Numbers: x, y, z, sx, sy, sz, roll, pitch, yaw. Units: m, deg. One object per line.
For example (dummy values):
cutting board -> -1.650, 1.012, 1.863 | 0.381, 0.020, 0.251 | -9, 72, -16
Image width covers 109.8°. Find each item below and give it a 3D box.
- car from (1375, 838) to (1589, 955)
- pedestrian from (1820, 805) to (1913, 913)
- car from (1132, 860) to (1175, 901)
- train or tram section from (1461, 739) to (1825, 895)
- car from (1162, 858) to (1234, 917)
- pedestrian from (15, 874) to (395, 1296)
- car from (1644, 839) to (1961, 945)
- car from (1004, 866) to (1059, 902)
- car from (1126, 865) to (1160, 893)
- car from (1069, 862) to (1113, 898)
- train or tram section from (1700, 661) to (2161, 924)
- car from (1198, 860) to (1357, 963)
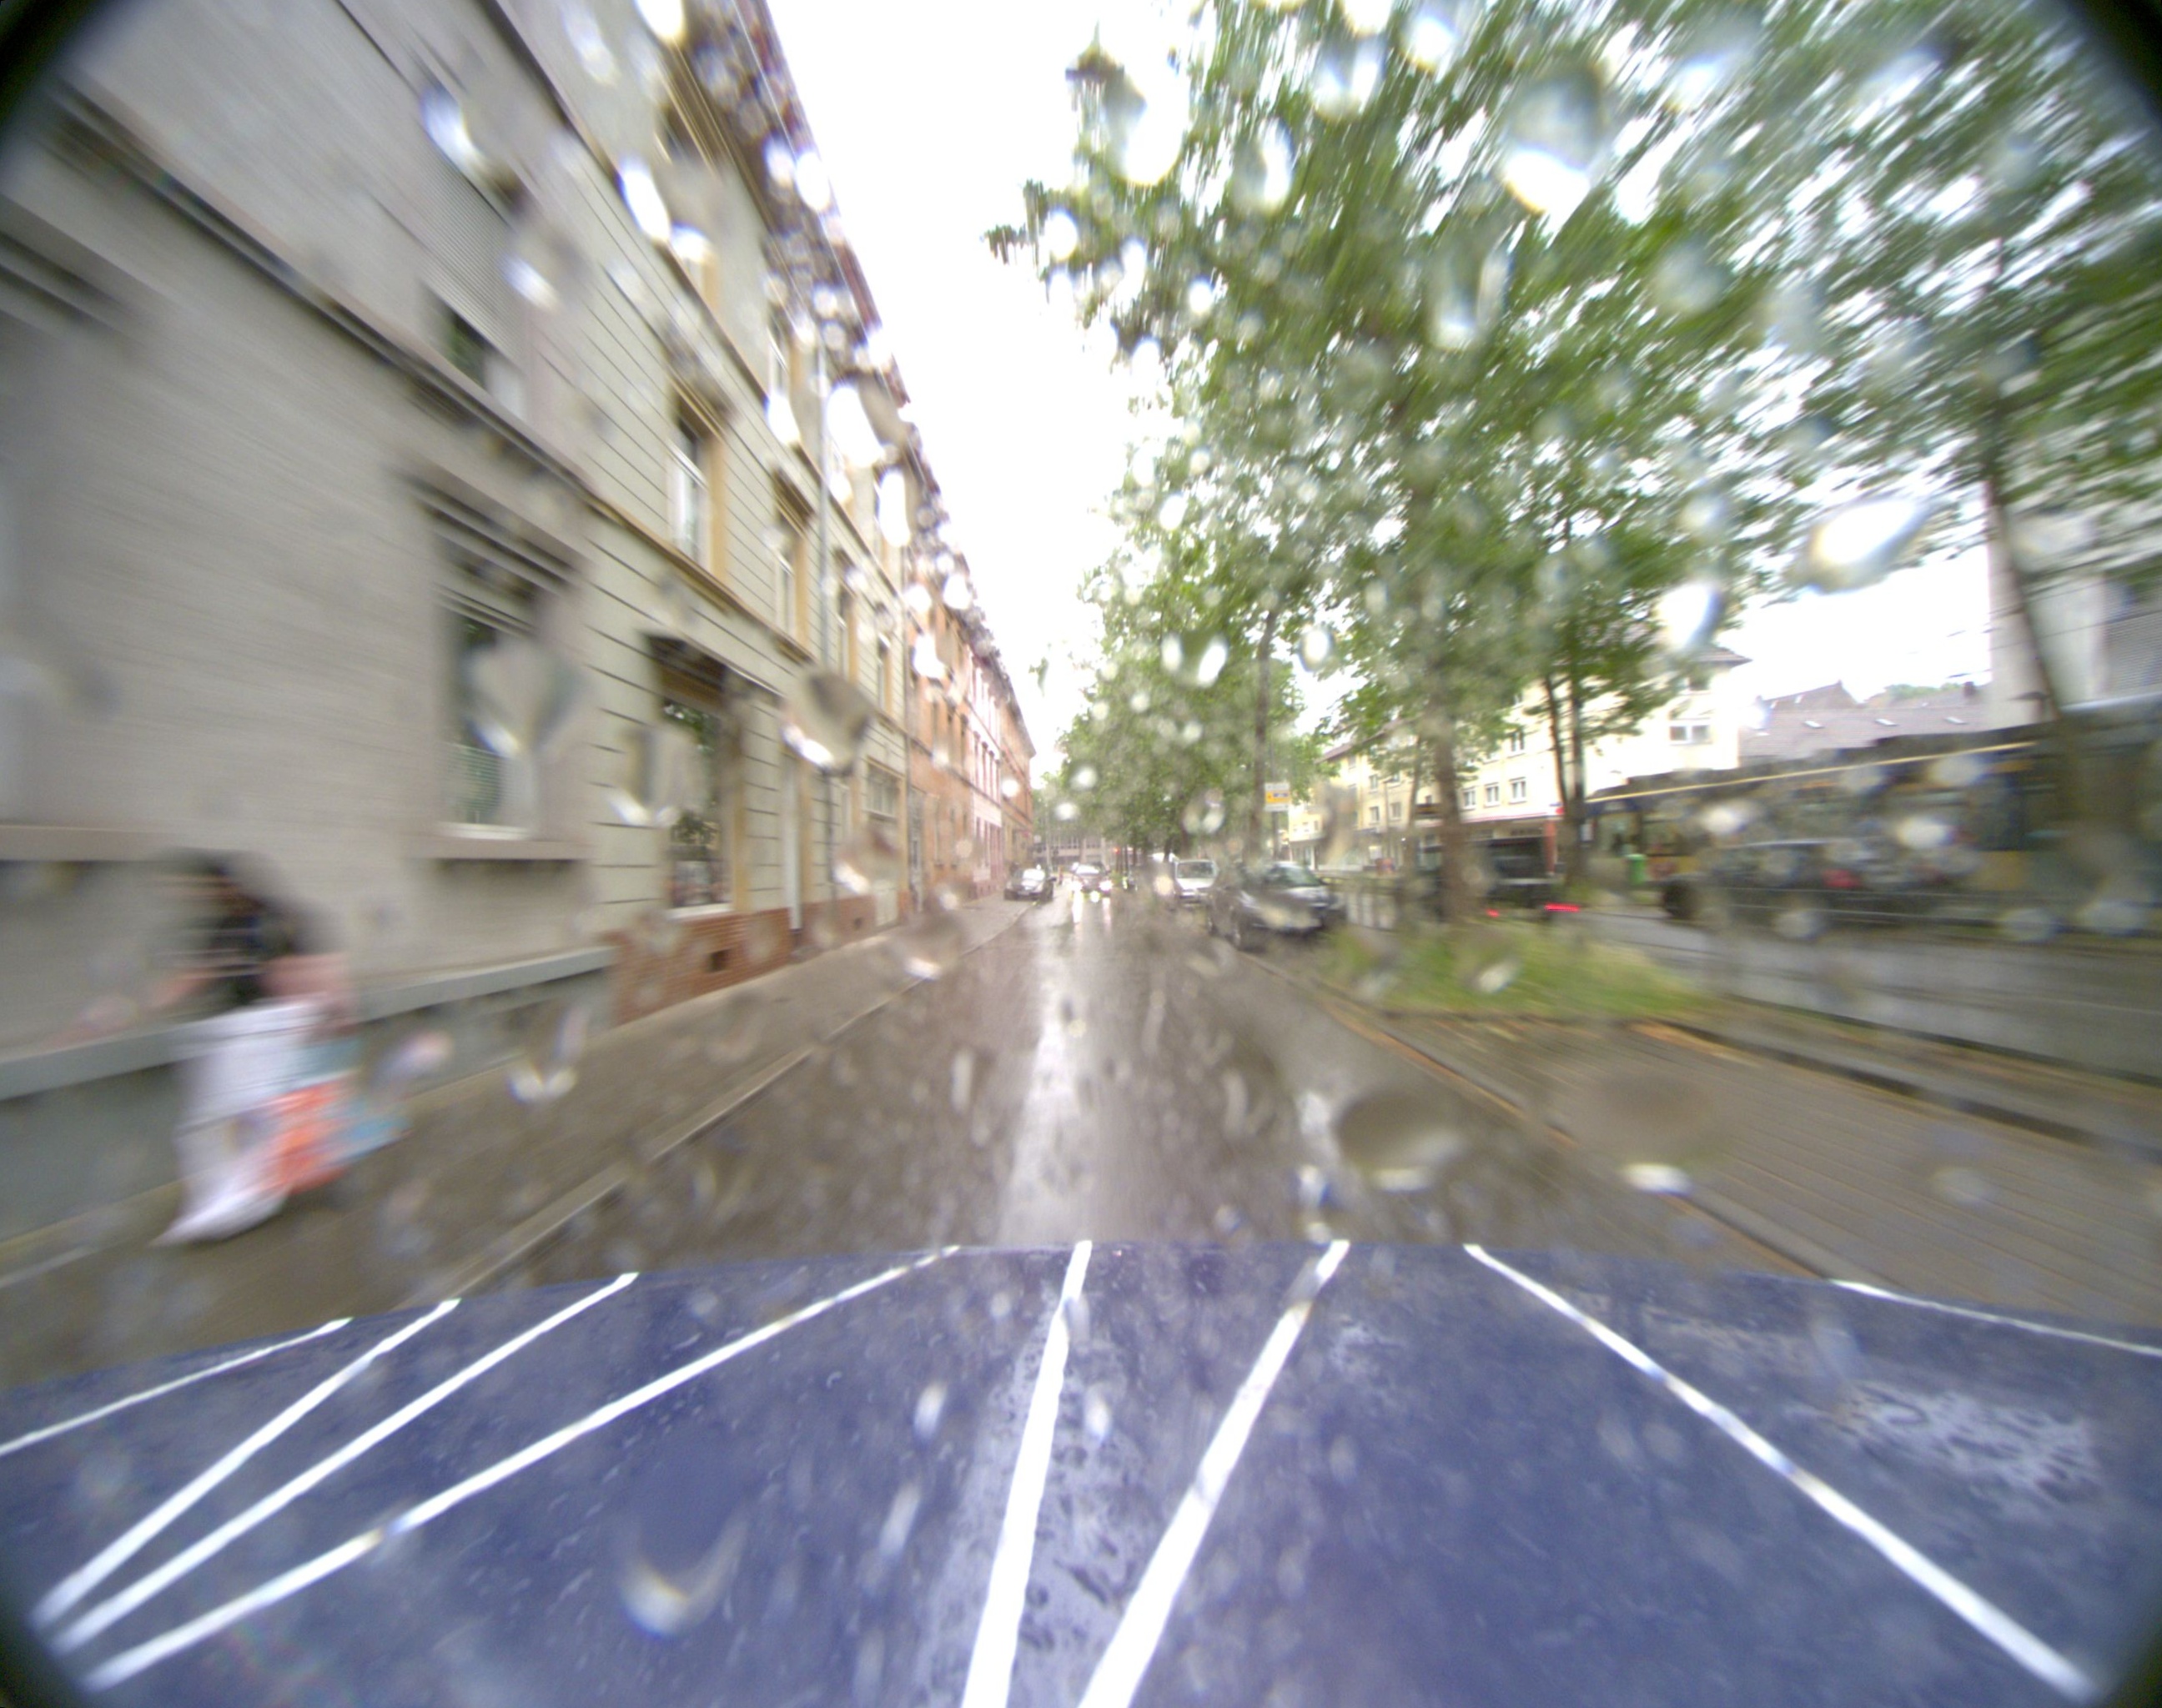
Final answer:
car -> 6.641, 0.650, 13.060 | 1.676, 1.653, 3.649 | -2, -1, 0
pedestrian -> 13.530, 0.089, 13.124 | 0.959, 1.773, 0.819 | -2, 0, 38
car -> 3.118, 1.085, 32.457 | 1.663, 1.567, 3.424 | -2, -1, 6
train or tram section -> 16.407, -0.878, 24.061 | 2.907, 3.621, 11.552 | -3, 0, 0
car -> 3.376, 0.936, 22.518 | 1.572, 1.567, 3.328 | -2, -1, 0
pedestrian -> -3.618, 0.893, 3.199 | 0.849, 1.564, 0.576 | 3, 0, 0
car -> 11.758, 0.571, 12.786 | 1.676, 1.376, 3.705 | -6, -1, 0
car -> -2.160, 1.296, 34.110 | 1.976, 1.359, 4.162 | 3, 0, 2
car -> 3.318, 1.322, 41.317 | 1.664, 1.420, 3.423 | -2, -1, 2
car -> 0.548, 1.241, 37.480 | 1.976, 1.629, 4.162 | -2, -1, 3
train or tram section -> 16.369, -0.899, 12.484 | 2.907, 3.621, 11.552 | -3, 0, 0
car -> 3.252, 0.889, 13.378 | 1.732, 1.473, 4.006 | -2, -1, 0
